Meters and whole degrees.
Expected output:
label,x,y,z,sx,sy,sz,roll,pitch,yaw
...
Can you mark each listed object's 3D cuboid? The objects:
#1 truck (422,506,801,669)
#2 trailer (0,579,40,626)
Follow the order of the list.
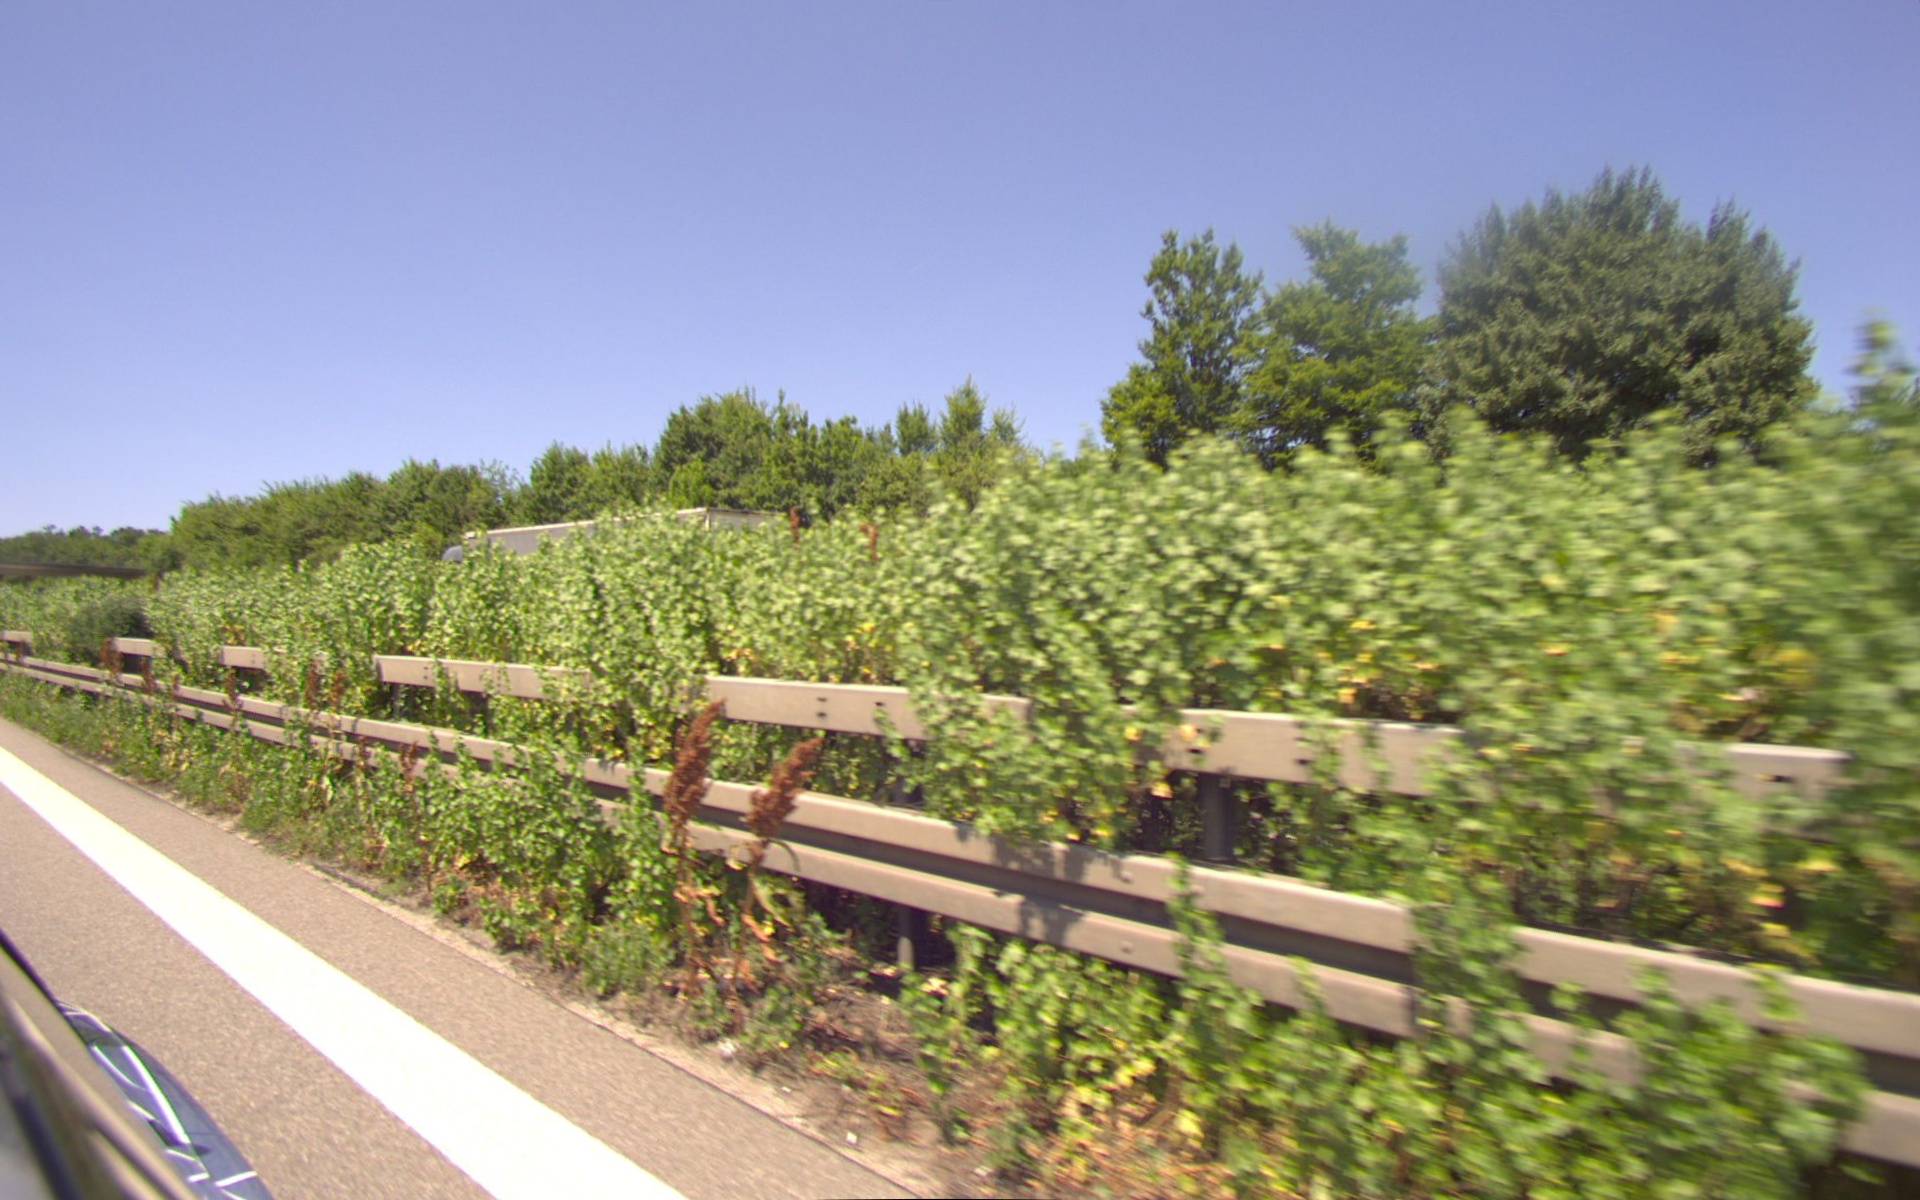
label,x,y,z,sx,sy,sz,roll,pitch,yaw
truck,-11.675,-0.185,31.567,16.813,4.044,2.945,-1,0,40
trailer,-96.305,0.338,102.514,14.662,4.286,2.608,-2,-1,40
